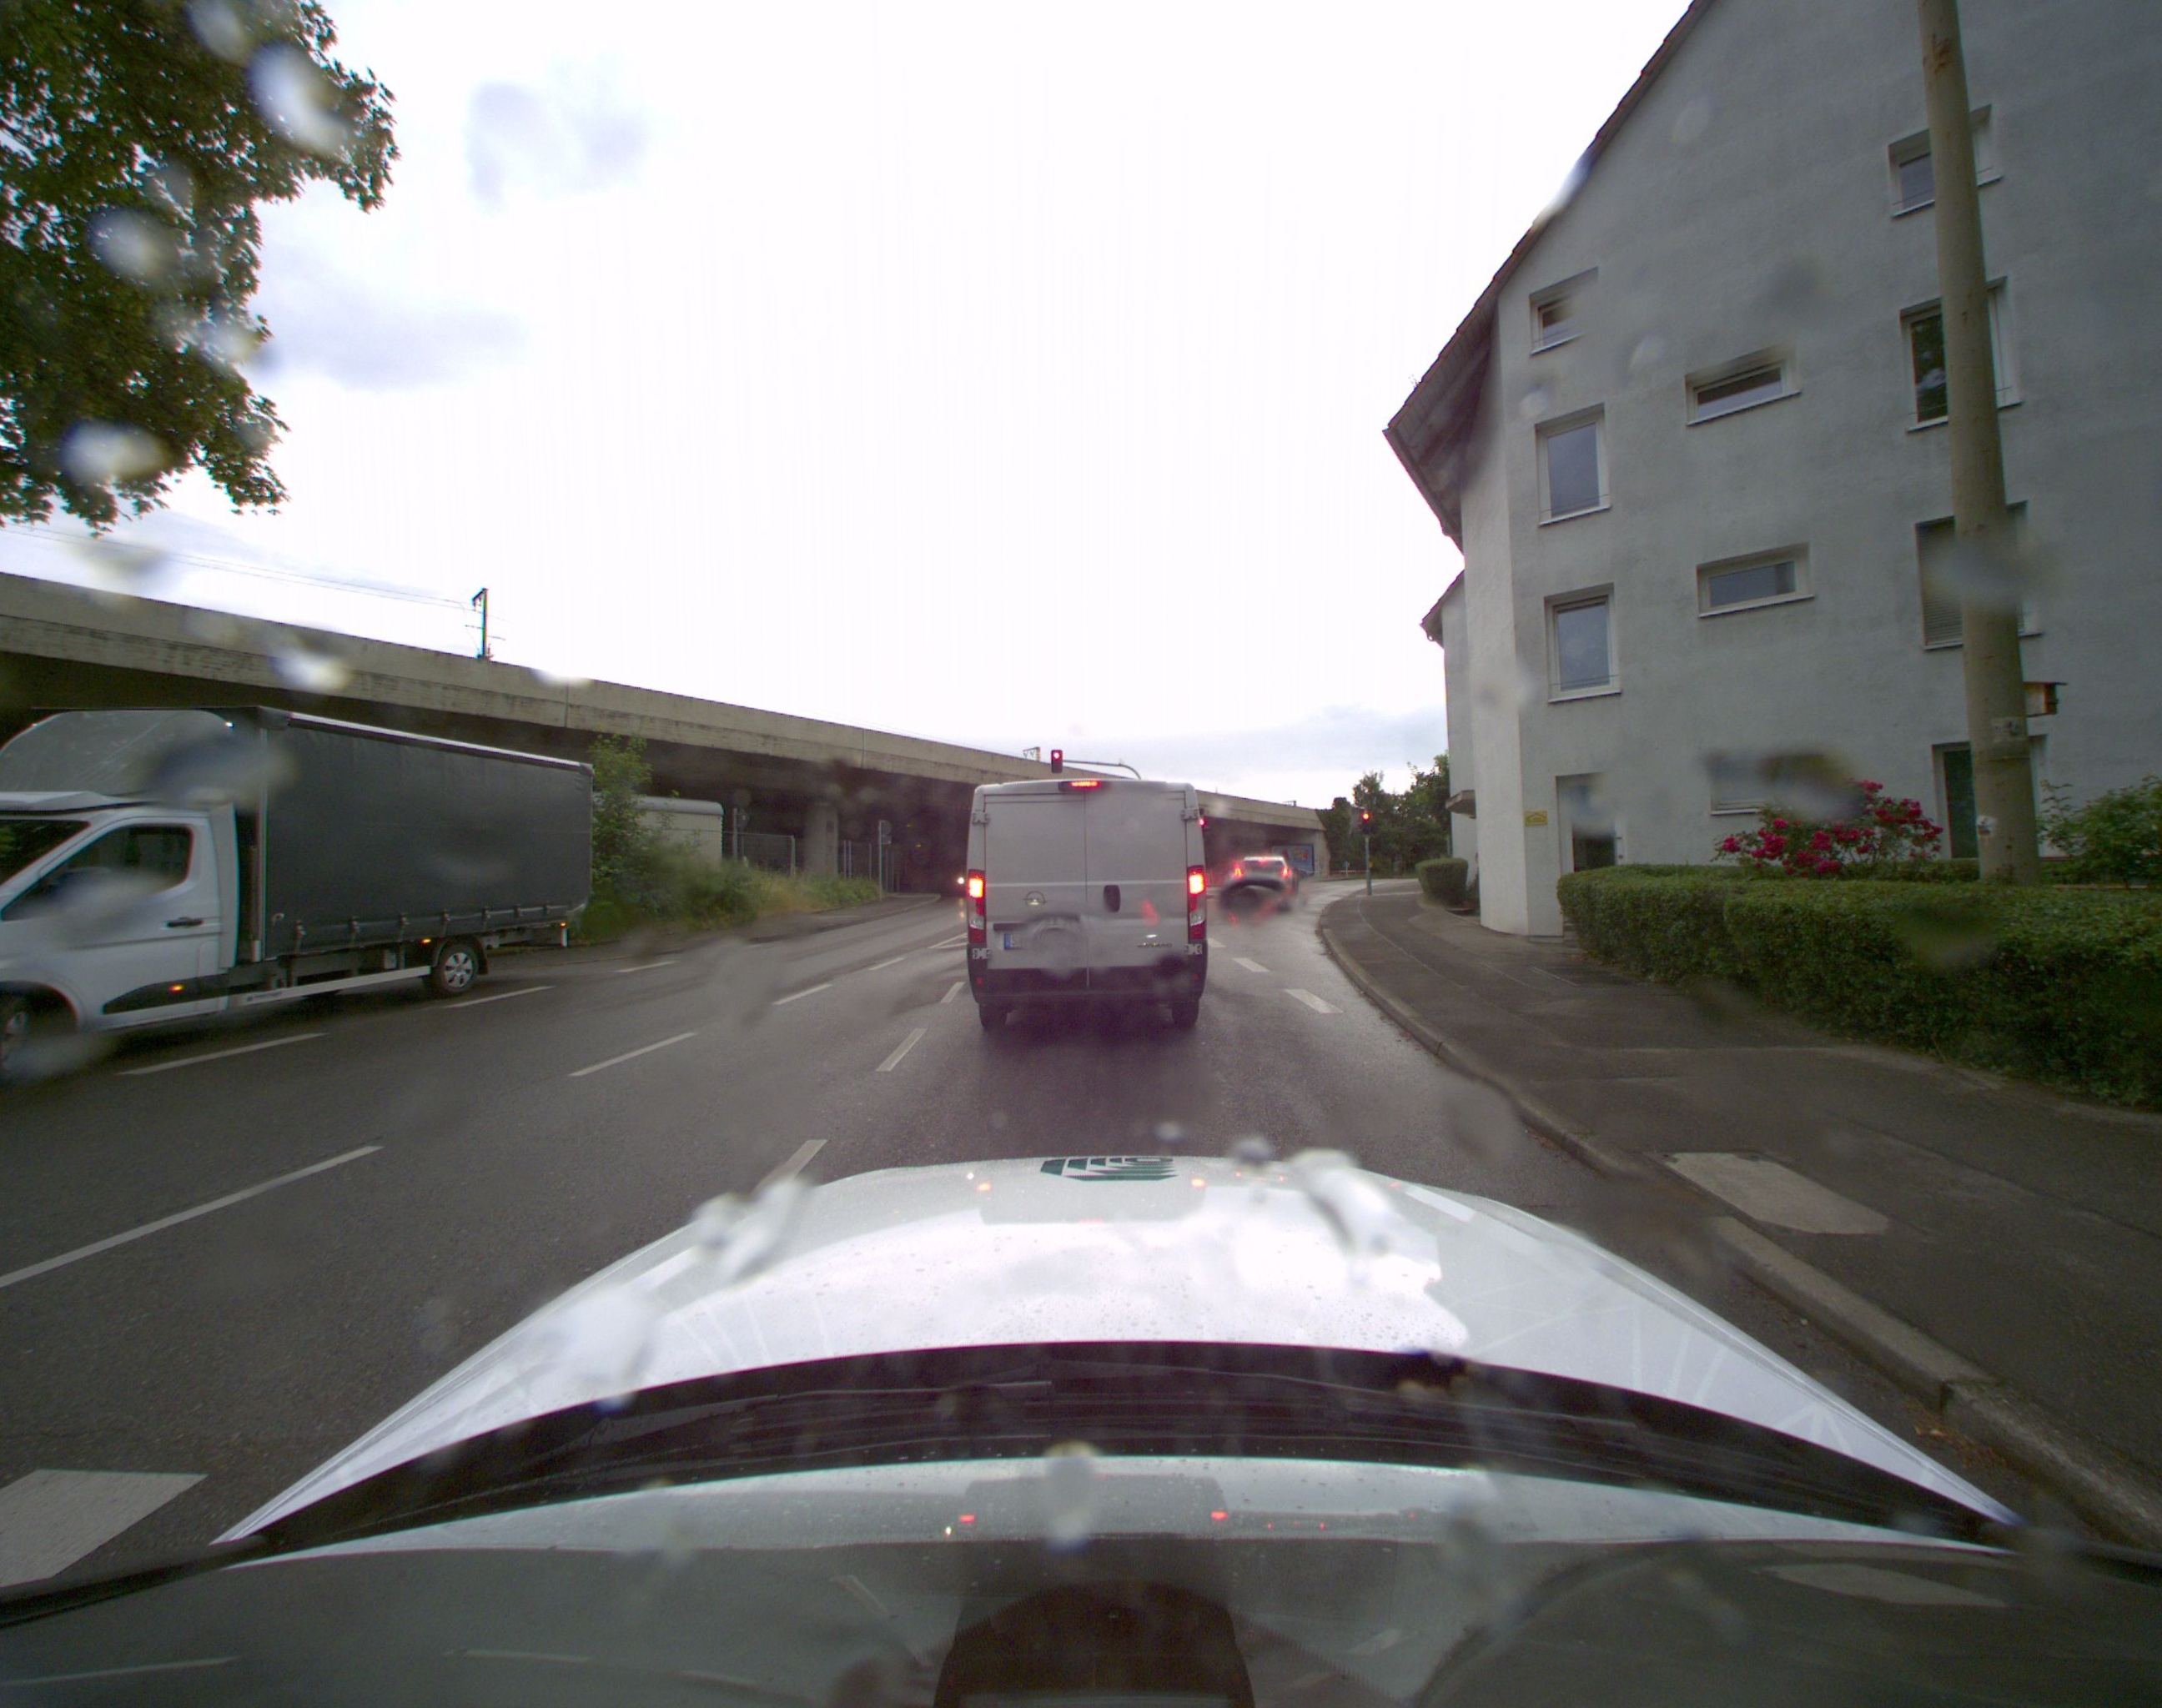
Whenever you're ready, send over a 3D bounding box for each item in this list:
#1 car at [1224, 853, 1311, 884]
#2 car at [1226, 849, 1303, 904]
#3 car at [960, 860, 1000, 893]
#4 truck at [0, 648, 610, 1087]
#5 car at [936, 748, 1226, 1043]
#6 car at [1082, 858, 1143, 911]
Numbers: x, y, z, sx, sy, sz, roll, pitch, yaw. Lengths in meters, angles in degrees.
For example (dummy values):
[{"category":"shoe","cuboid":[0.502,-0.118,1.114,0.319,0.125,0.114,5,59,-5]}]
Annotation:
[{"category":"car","cuboid":[9.795,0.762,42.856,4.000,1.519,1.987,0,-2,-20]},{"category":"car","cuboid":[5.765,0.698,25.275,1.978,1.549,4.017,-2,-2,17]},{"category":"car","cuboid":[-5.205,1.149,42.572,1.912,1.626,4.426,-1,-1,-5]},{"category":"truck","cuboid":[-9.074,0.181,9.200,2.599,3.237,7.782,-1,-1,3]},{"category":"car","cuboid":[0.077,0.333,9.297,2.296,2.343,5.284,-2,0,2]},{"category":"car","cuboid":[1.190,1.072,28.922,1.984,1.729,4.004,-1,-2,5]}]
